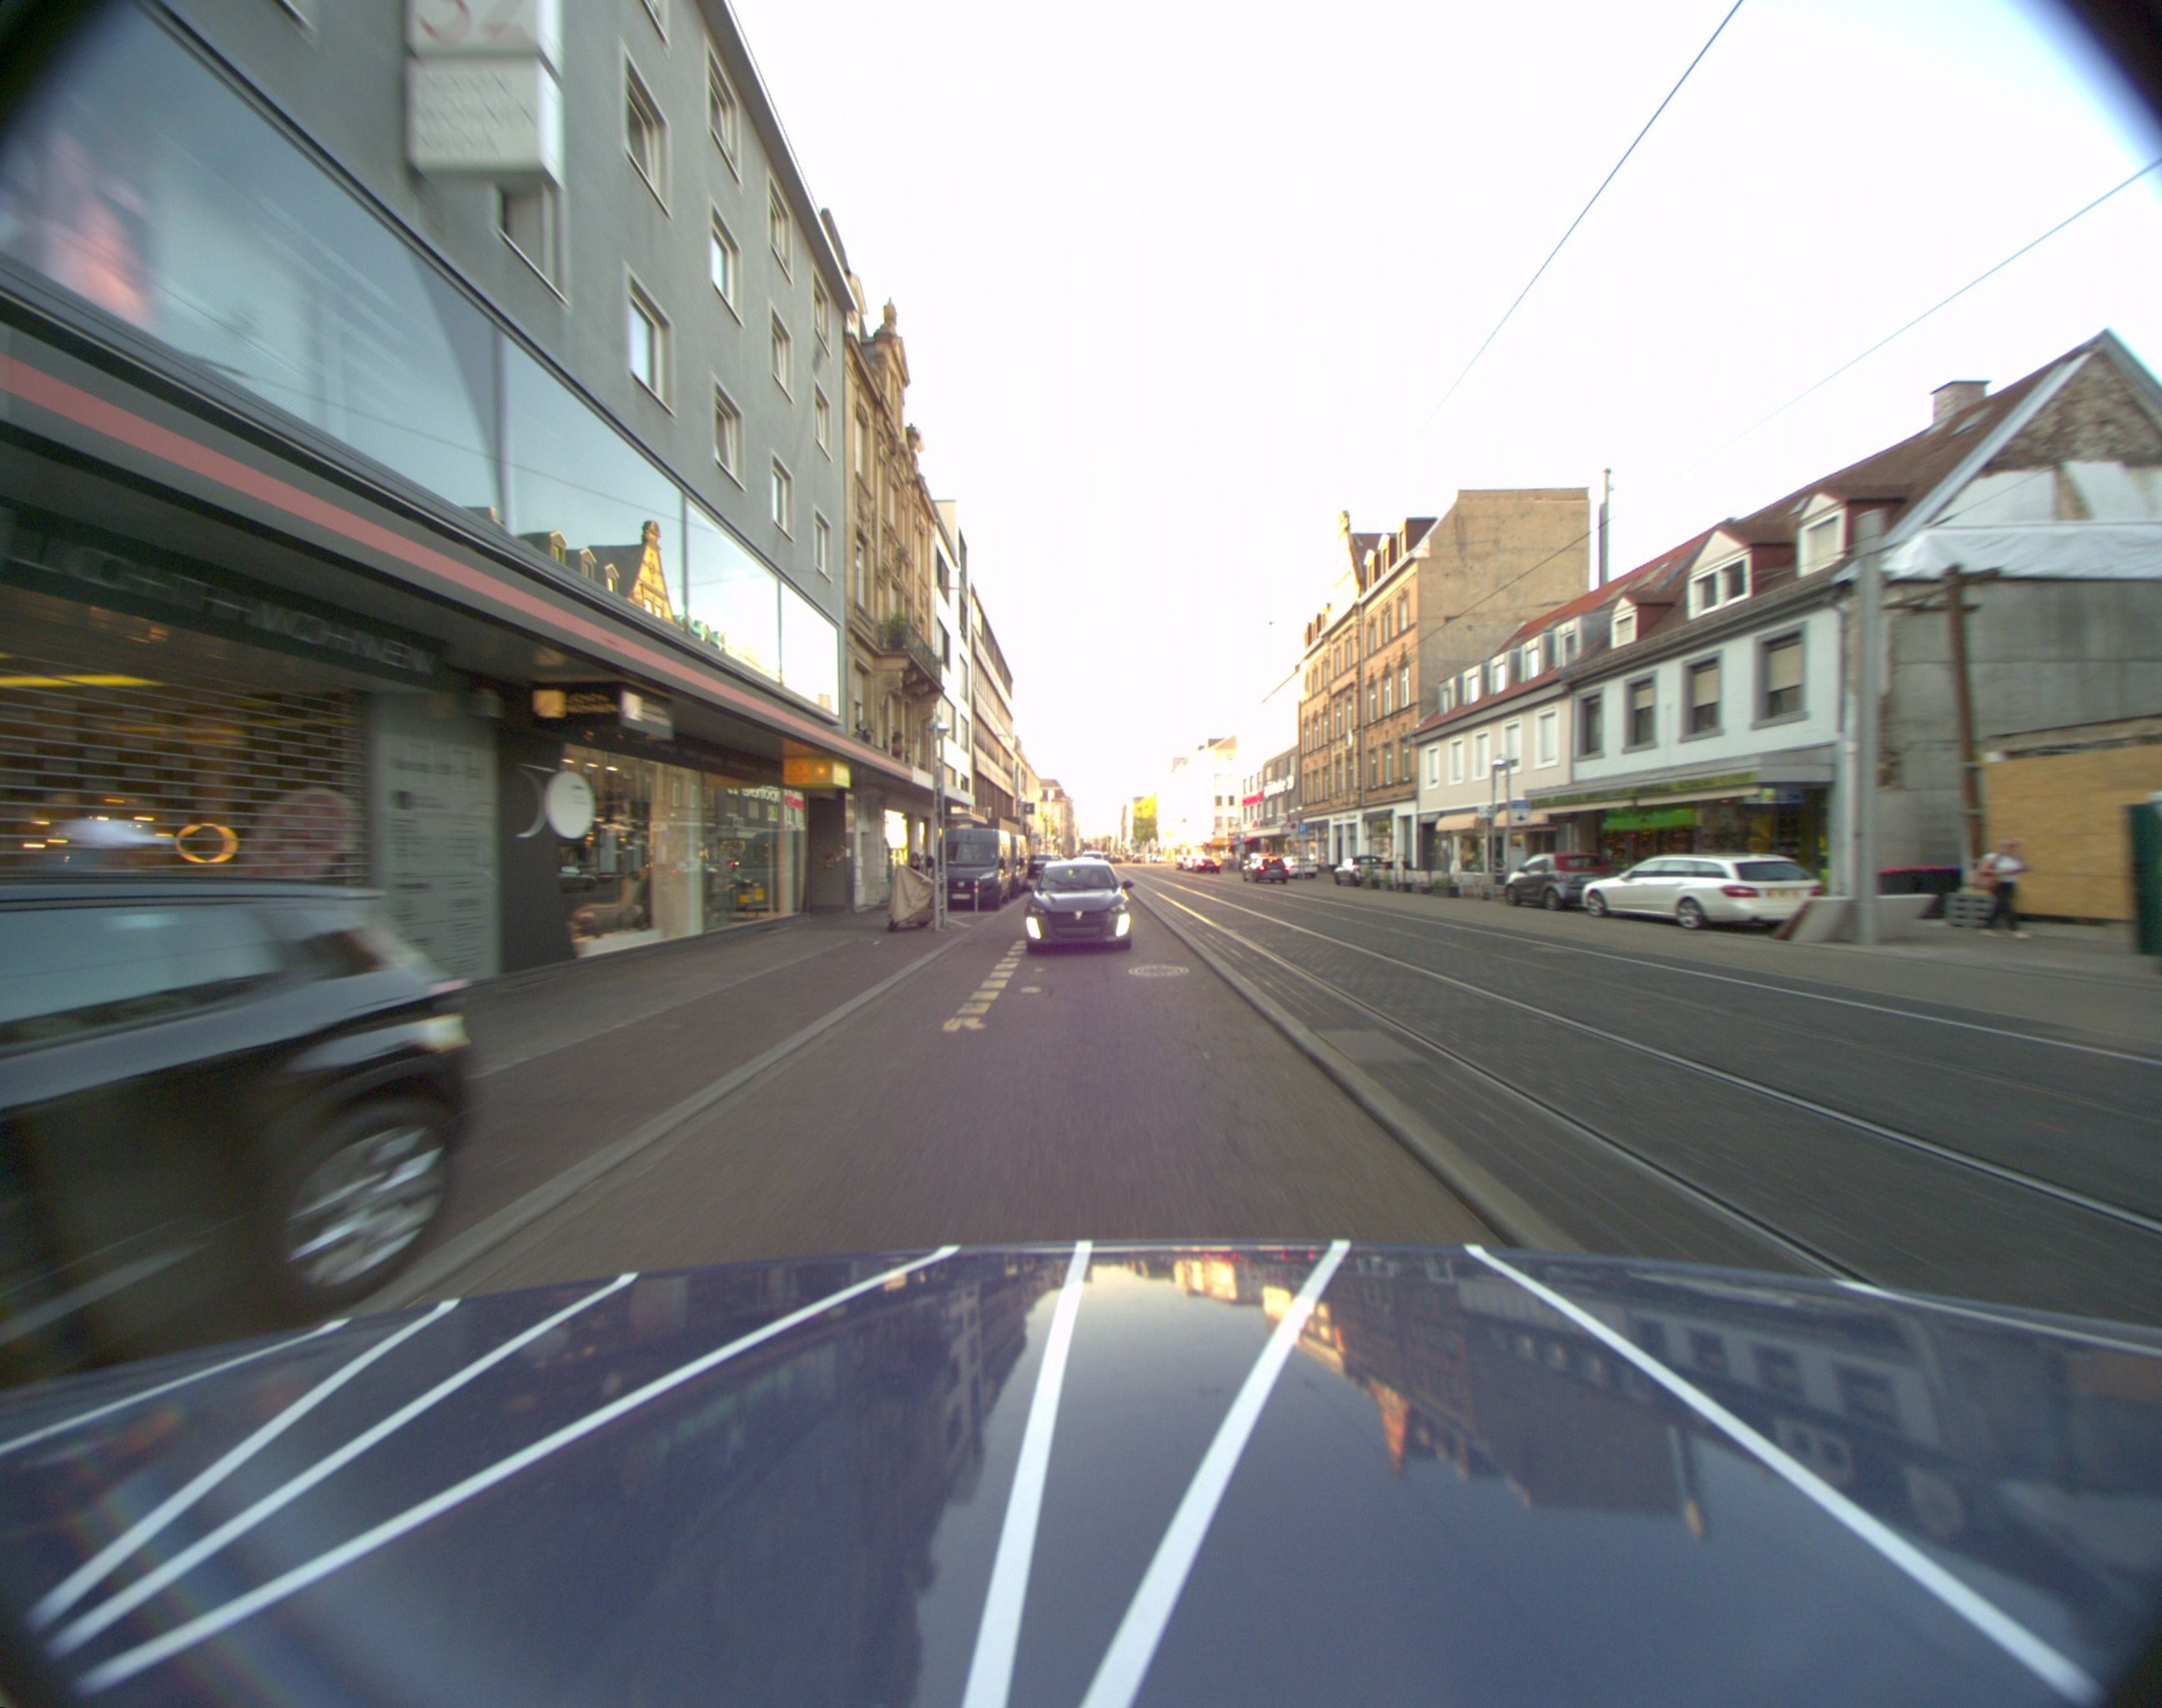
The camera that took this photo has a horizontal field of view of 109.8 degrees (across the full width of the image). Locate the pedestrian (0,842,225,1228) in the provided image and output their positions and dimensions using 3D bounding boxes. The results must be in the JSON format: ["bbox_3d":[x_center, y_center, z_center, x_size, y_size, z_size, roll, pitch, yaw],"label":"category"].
[{"bbox_3d":[-4.863,0.818,3.724,0.610,1.743,0.605,0,1,1],"label":"pedestrian"}]

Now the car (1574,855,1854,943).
[{"bbox_3d":[13.101,0.821,16.260,1.998,1.535,4.878,-1,0,2],"label":"car"}]

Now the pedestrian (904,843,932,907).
[{"bbox_3d":[-5.175,0.653,24.163,0.711,2.002,0.824,0,1,1],"label":"pedestrian"}]

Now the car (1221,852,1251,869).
[{"bbox_3d":[14.201,0.560,69.685,1.998,1.543,4.000,0,0,1],"label":"car"}]

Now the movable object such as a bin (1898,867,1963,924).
[{"bbox_3d":[17.180,0.830,15.383,0.619,1.115,0.615,0,1,5],"label":"movable object such as a bin"}]

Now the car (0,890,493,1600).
[{"bbox_3d":[-3.346,0.949,1.182,1.673,1.565,4.034,0,0,1],"label":"car"}]

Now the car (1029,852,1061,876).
[{"bbox_3d":[-2.451,0.652,53.436,1.999,1.627,5.243,0,0,0],"label":"car"}]

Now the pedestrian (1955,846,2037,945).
[{"bbox_3d":[15.258,0.676,12.684,0.600,1.625,0.615,0,1,5],"label":"pedestrian"}]

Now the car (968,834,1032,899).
[{"bbox_3d":[-3.122,0.440,30.405,1.999,2.390,5.563,0,0,0],"label":"car"}]

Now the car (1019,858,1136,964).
[{"bbox_3d":[-0.066,0.883,13.695,1.732,1.513,4.333,-2,0,0],"label":"car"}]

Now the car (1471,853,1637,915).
[{"bbox_3d":[13.188,0.760,21.587,1.913,1.535,4.552,0,0,1],"label":"car"}]

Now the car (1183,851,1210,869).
[{"bbox_3d":[10.704,0.537,70.663,1.998,1.543,4.000,0,0,1],"label":"car"}]

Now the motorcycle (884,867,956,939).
[{"bbox_3d":[-3.316,0.976,15.740,0.574,1.369,1.513,0,1,30],"label":"motorcycle"}]

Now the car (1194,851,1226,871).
[{"bbox_3d":[10.690,0.565,63.347,1.998,1.543,4.000,0,0,1],"label":"car"}]

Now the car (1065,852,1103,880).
[{"bbox_3d":[0.174,0.649,42.599,1.998,1.450,4.000,0,0,0],"label":"car"}]

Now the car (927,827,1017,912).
[{"bbox_3d":[-3.282,0.416,23.978,2.046,2.371,5.584,0,0,0],"label":"car"}]

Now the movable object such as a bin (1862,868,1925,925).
[{"bbox_3d":[16.515,0.855,15.463,0.619,1.115,0.615,0,1,5],"label":"movable object such as a bin"}]

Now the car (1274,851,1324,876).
[{"bbox_3d":[13.932,0.590,48.786,1.998,1.543,4.206,0,0,1],"label":"car"}]

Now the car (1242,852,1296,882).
[{"bbox_3d":[10.135,0.687,41.321,1.998,1.543,4.000,0,0,1],"label":"car"}]

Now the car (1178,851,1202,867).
[{"bbox_3d":[11.053,0.451,77.242,1.998,1.543,4.000,0,0,1],"label":"car"}]

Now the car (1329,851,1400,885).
[{"bbox_3d":[13.632,0.644,36.822,1.998,1.543,4.000,0,0,1],"label":"car"}]

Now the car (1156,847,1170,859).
[{"bbox_3d":[14.212,-0.230,132.236,1.998,2.024,4.000,0,0,1],"label":"car"}]

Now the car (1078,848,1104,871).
[{"bbox_3d":[0.766,0.436,61.218,1.999,1.805,3.999,0,1,0],"label":"car"}]
